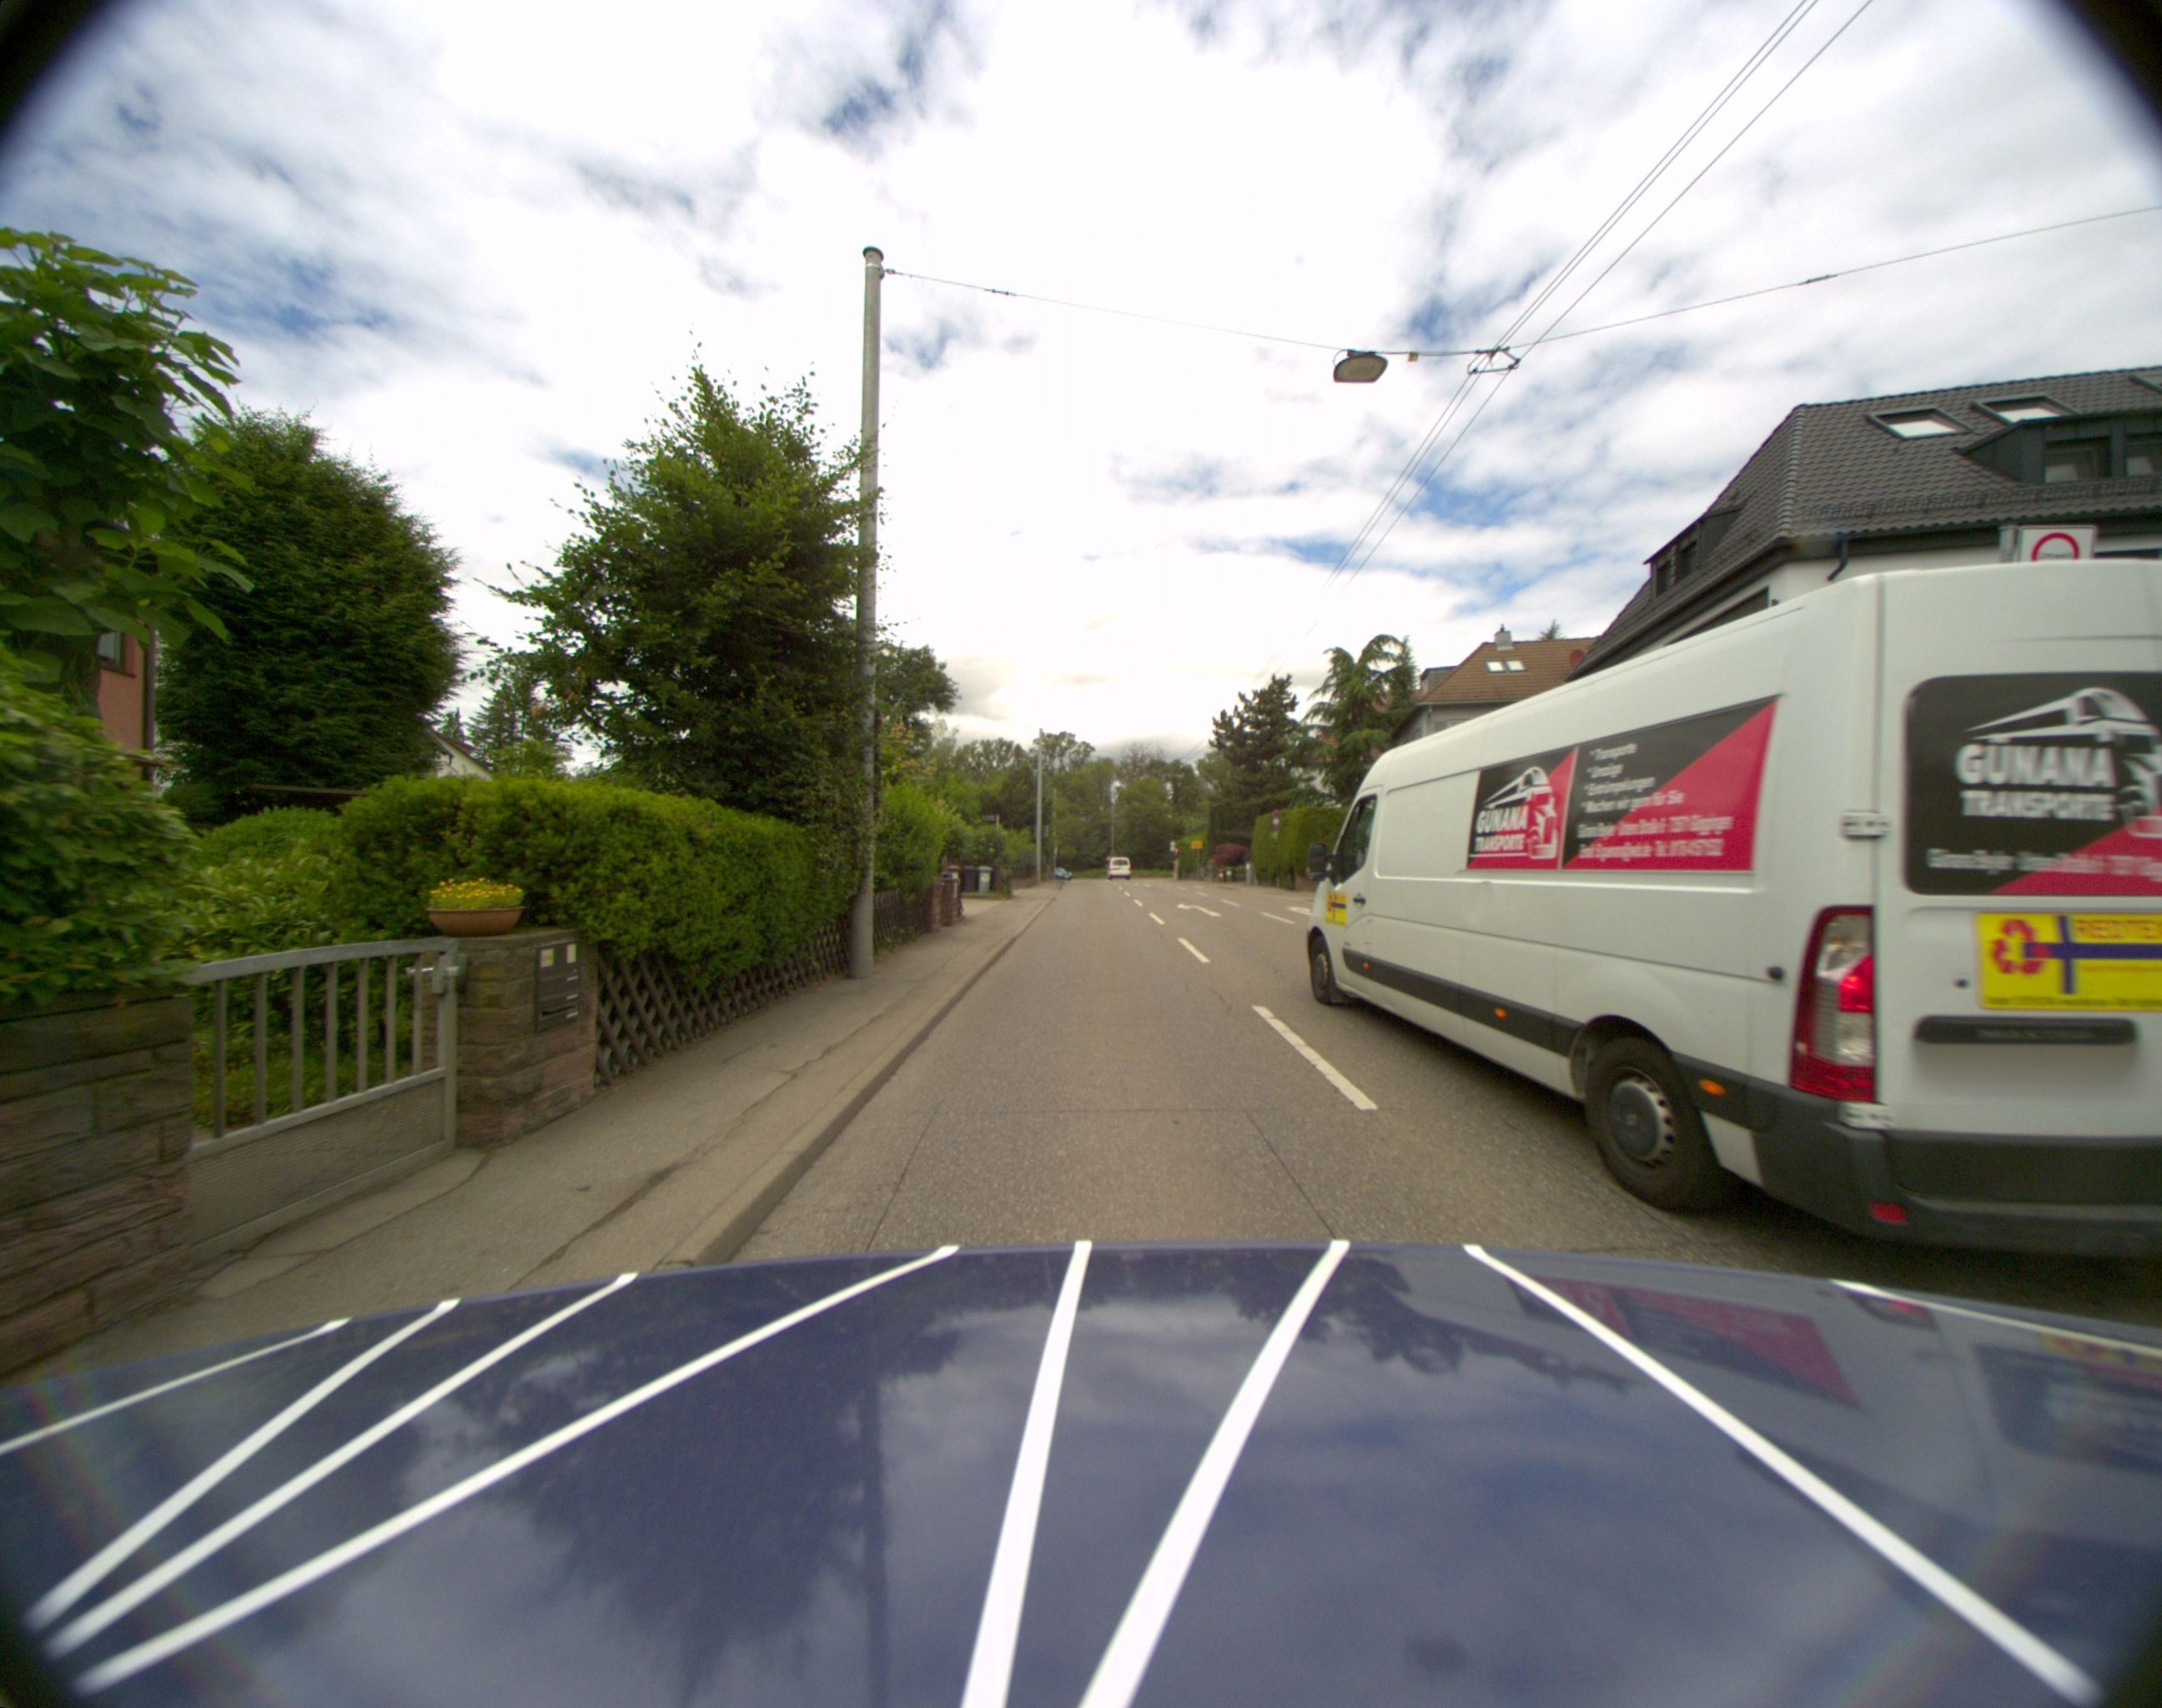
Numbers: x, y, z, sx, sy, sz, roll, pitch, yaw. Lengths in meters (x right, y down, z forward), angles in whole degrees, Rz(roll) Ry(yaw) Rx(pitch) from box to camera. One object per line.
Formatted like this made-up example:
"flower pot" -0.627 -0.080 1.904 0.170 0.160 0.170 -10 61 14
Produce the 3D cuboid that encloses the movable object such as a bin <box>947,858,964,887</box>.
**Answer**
"movable object such as a bin" -4.278 0.633 25.905 0.448 0.950 0.685 3 0 -16

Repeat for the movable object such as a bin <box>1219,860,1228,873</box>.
"movable object such as a bin" 10.154 0.867 54.157 0.464 0.936 0.648 -1 0 29

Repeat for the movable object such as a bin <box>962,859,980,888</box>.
"movable object such as a bin" -3.768 0.649 26.029 0.448 0.950 0.685 3 0 -16

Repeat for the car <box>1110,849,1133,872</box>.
"car" 3.688 0.586 69.701 1.863 2.035 5.172 0 -1 0

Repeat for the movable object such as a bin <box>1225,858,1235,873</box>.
"movable object such as a bin" 10.580 0.793 53.895 0.479 1.028 0.717 -1 0 29

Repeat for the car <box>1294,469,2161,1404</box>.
"car" 3.329 0.215 5.075 2.117 2.484 6.124 0 0 0

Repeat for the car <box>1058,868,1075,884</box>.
"car" -1.726 2.601 90.094 1.863 1.855 4.610 0 -1 -3

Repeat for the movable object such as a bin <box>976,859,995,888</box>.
"movable object such as a bin" -3.297 0.675 26.192 0.448 0.950 0.685 3 0 -20
